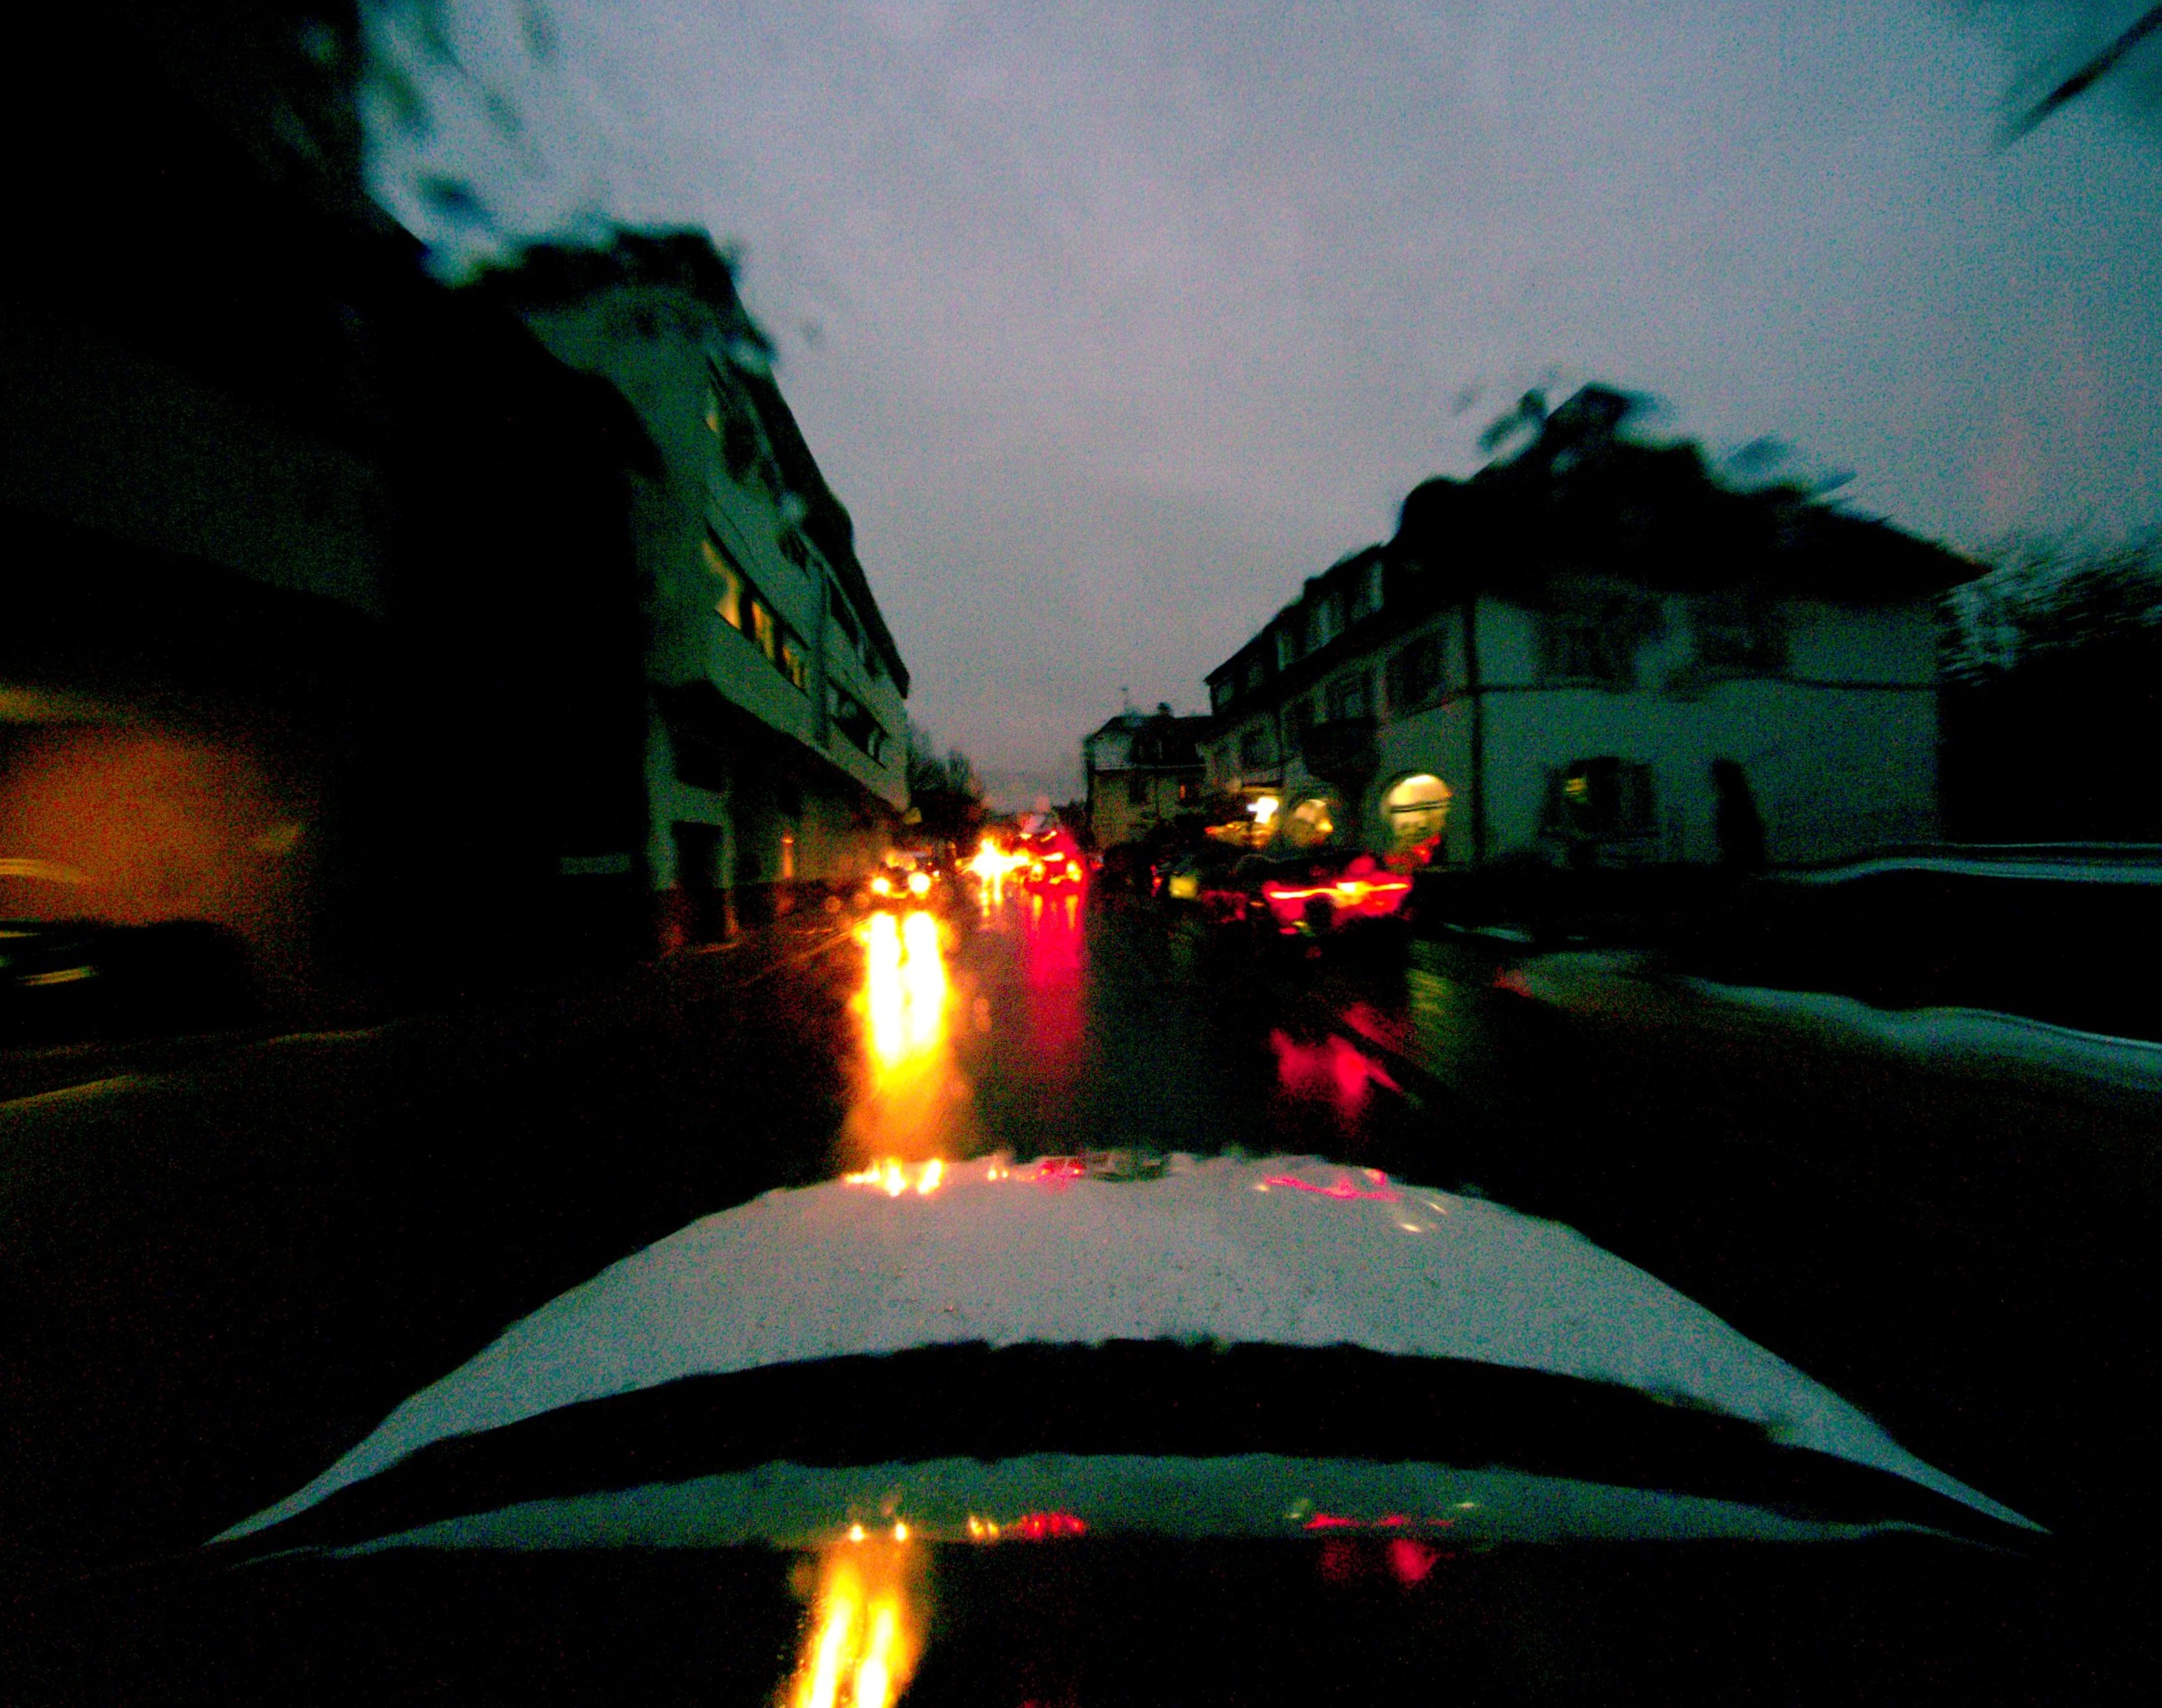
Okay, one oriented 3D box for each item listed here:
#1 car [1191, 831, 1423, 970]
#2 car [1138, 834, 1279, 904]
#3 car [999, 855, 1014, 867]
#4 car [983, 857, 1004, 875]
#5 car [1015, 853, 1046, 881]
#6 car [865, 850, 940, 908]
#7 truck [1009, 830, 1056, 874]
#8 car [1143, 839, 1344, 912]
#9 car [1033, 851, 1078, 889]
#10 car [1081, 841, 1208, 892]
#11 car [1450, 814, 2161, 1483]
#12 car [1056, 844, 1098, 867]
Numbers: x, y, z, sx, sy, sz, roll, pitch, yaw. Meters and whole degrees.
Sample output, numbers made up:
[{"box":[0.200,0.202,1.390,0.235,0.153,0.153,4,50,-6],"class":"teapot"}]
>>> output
[{"box":[2.985,0.535,11.925,1.878,1.547,4.667,-3,0,-3],"class":"car"},{"box":[3.558,0.403,22.985,3.505,1.680,1.710,-4,0,-11],"class":"car"},{"box":[-9.816,0.897,107.467,1.808,1.596,4.391,-1,0,-5],"class":"car"},{"box":[-7.879,1.052,73.399,1.634,1.535,3.402,-1,0,-3],"class":"car"},{"box":[-2.873,0.693,45.646,1.635,1.481,3.265,-1,0,-5],"class":"car"},{"box":[-5.460,0.700,25.365,1.791,1.642,3.805,0,0,-5],"class":"car"},{"box":[-3.809,-0.175,62.224,3.013,3.128,7.980,-1,0,-7],"class":"truck"},{"box":[3.917,0.493,20.096,4.462,1.473,1.894,-3,0,-7],"class":"car"},{"box":[-1.101,0.628,33.733,1.635,1.481,3.372,0,0,-5],"class":"car"},{"box":[2.458,0.465,32.129,4.603,1.775,1.939,-2,0,-10],"class":"car"},{"box":[3.276,0.628,2.927,1.788,1.460,4.530,-3,0,0],"class":"car"},{"box":[-0.343,0.161,81.866,4.082,2.163,1.914,-1,0,1],"class":"car"}]
